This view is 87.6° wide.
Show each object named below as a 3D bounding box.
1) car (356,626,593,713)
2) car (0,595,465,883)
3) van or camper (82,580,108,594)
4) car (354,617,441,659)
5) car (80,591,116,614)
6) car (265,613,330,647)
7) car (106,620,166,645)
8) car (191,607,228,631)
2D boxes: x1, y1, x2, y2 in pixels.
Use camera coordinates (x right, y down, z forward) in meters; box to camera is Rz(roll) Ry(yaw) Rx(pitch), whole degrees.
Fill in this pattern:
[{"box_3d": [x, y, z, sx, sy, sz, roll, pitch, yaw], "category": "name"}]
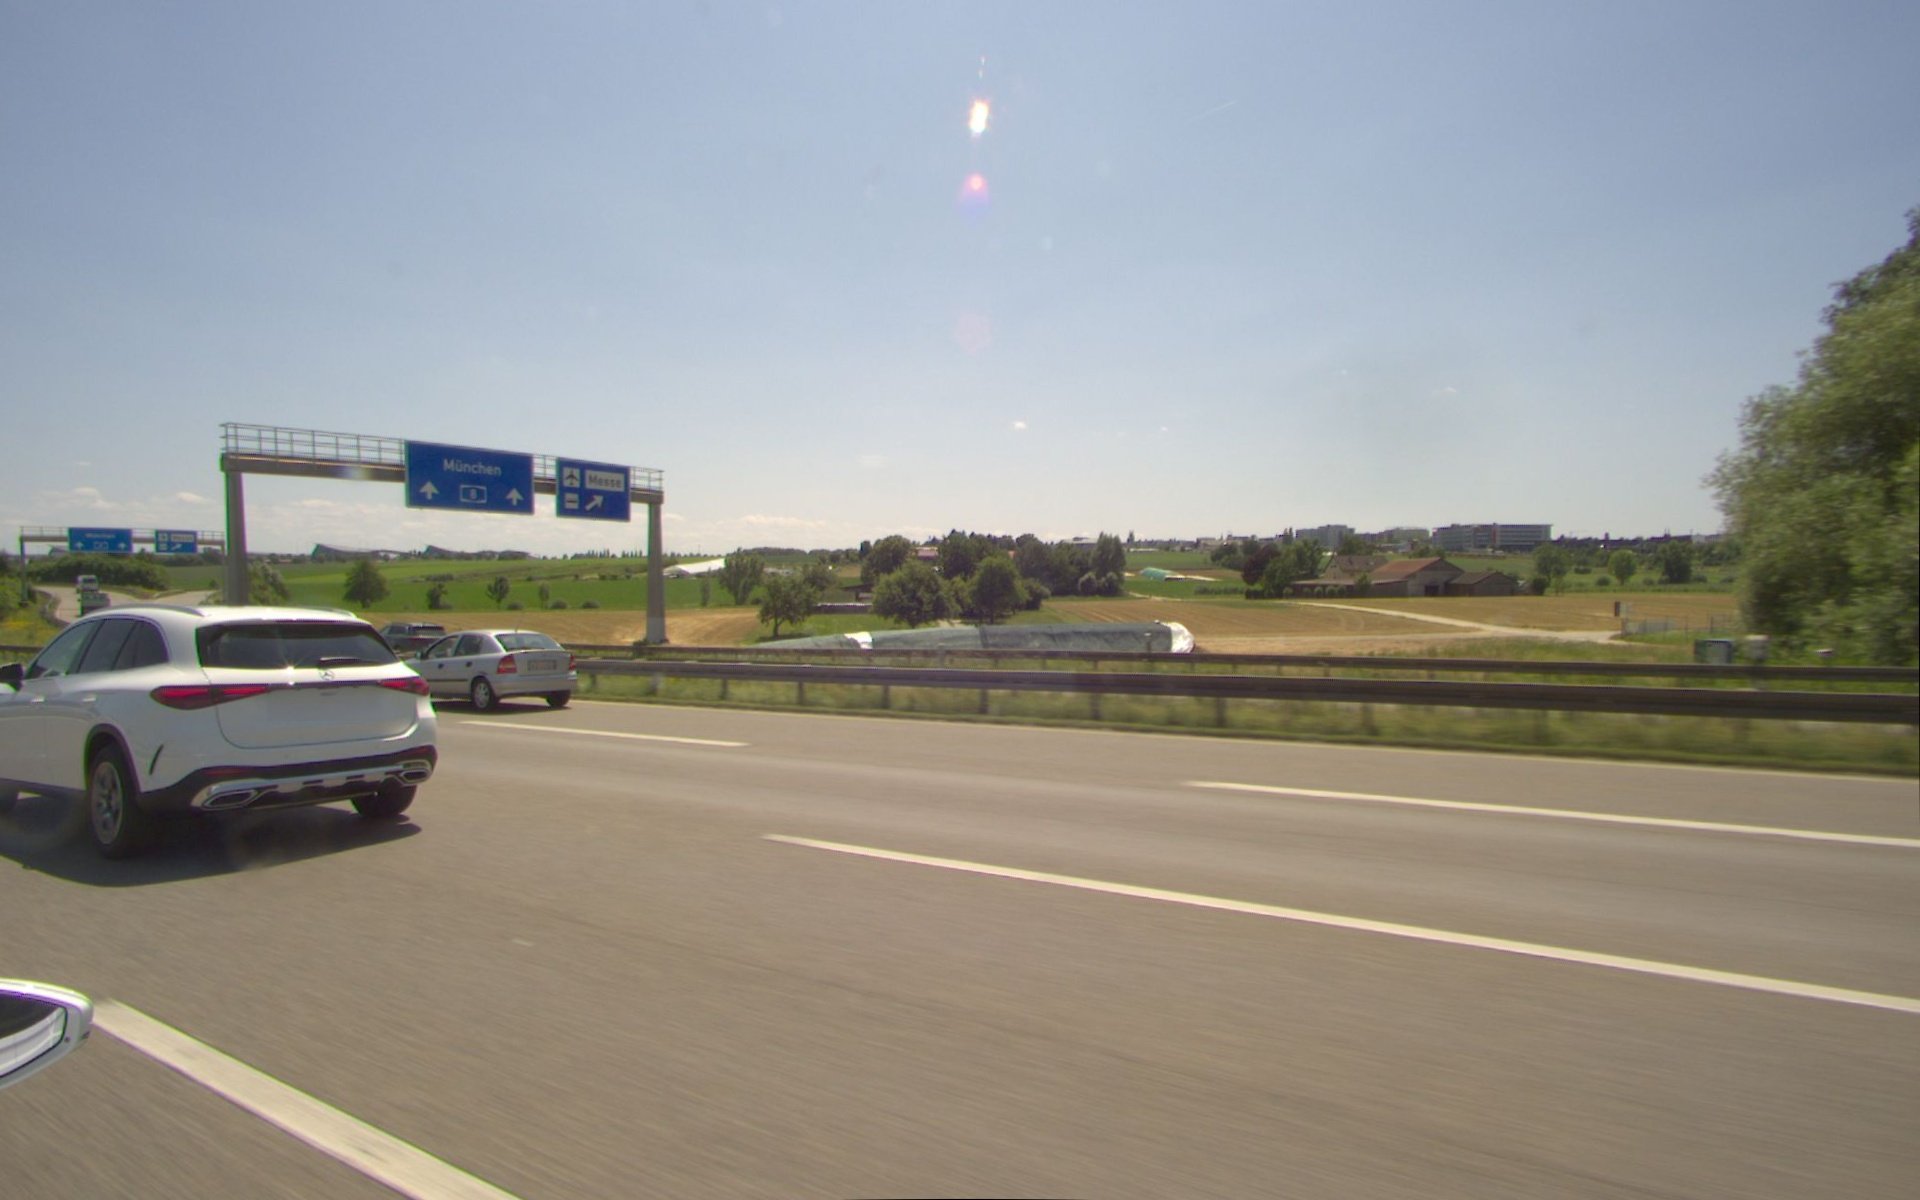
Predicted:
[{"box_3d": [-9.256, 1.247, 18.977, 4.777, 1.456, 1.783, -1, -1, 32], "category": "car"}, {"box_3d": [-6.260, 0.870, 7.904, 4.926, 1.668, 1.895, -1, -1, 31], "category": "car"}, {"box_3d": [-131.768, -1.959, 152.580, 4.411, 2.039, 2.516, -2, -1, 42], "category": "van or camper"}, {"box_3d": [-22.634, 1.515, 40.228, 4.078, 1.595, 1.693, -2, -1, 39], "category": "car"}, {"box_3d": [-80.073, 0.243, 92.999, 3.953, 2.040, 1.985, -1, -1, 40], "category": "car"}, {"box_3d": [-39.254, 1.754, 59.314, 4.126, 1.948, 1.932, -1, -1, 37], "category": "car"}, {"box_3d": [-55.101, 2.193, 66.913, 3.943, 1.616, 1.990, -1, -1, 32], "category": "car"}, {"box_3d": [-62.750, 1.590, 83.727, 4.137, 1.948, 1.927, -2, -1, 45], "category": "car"}]
